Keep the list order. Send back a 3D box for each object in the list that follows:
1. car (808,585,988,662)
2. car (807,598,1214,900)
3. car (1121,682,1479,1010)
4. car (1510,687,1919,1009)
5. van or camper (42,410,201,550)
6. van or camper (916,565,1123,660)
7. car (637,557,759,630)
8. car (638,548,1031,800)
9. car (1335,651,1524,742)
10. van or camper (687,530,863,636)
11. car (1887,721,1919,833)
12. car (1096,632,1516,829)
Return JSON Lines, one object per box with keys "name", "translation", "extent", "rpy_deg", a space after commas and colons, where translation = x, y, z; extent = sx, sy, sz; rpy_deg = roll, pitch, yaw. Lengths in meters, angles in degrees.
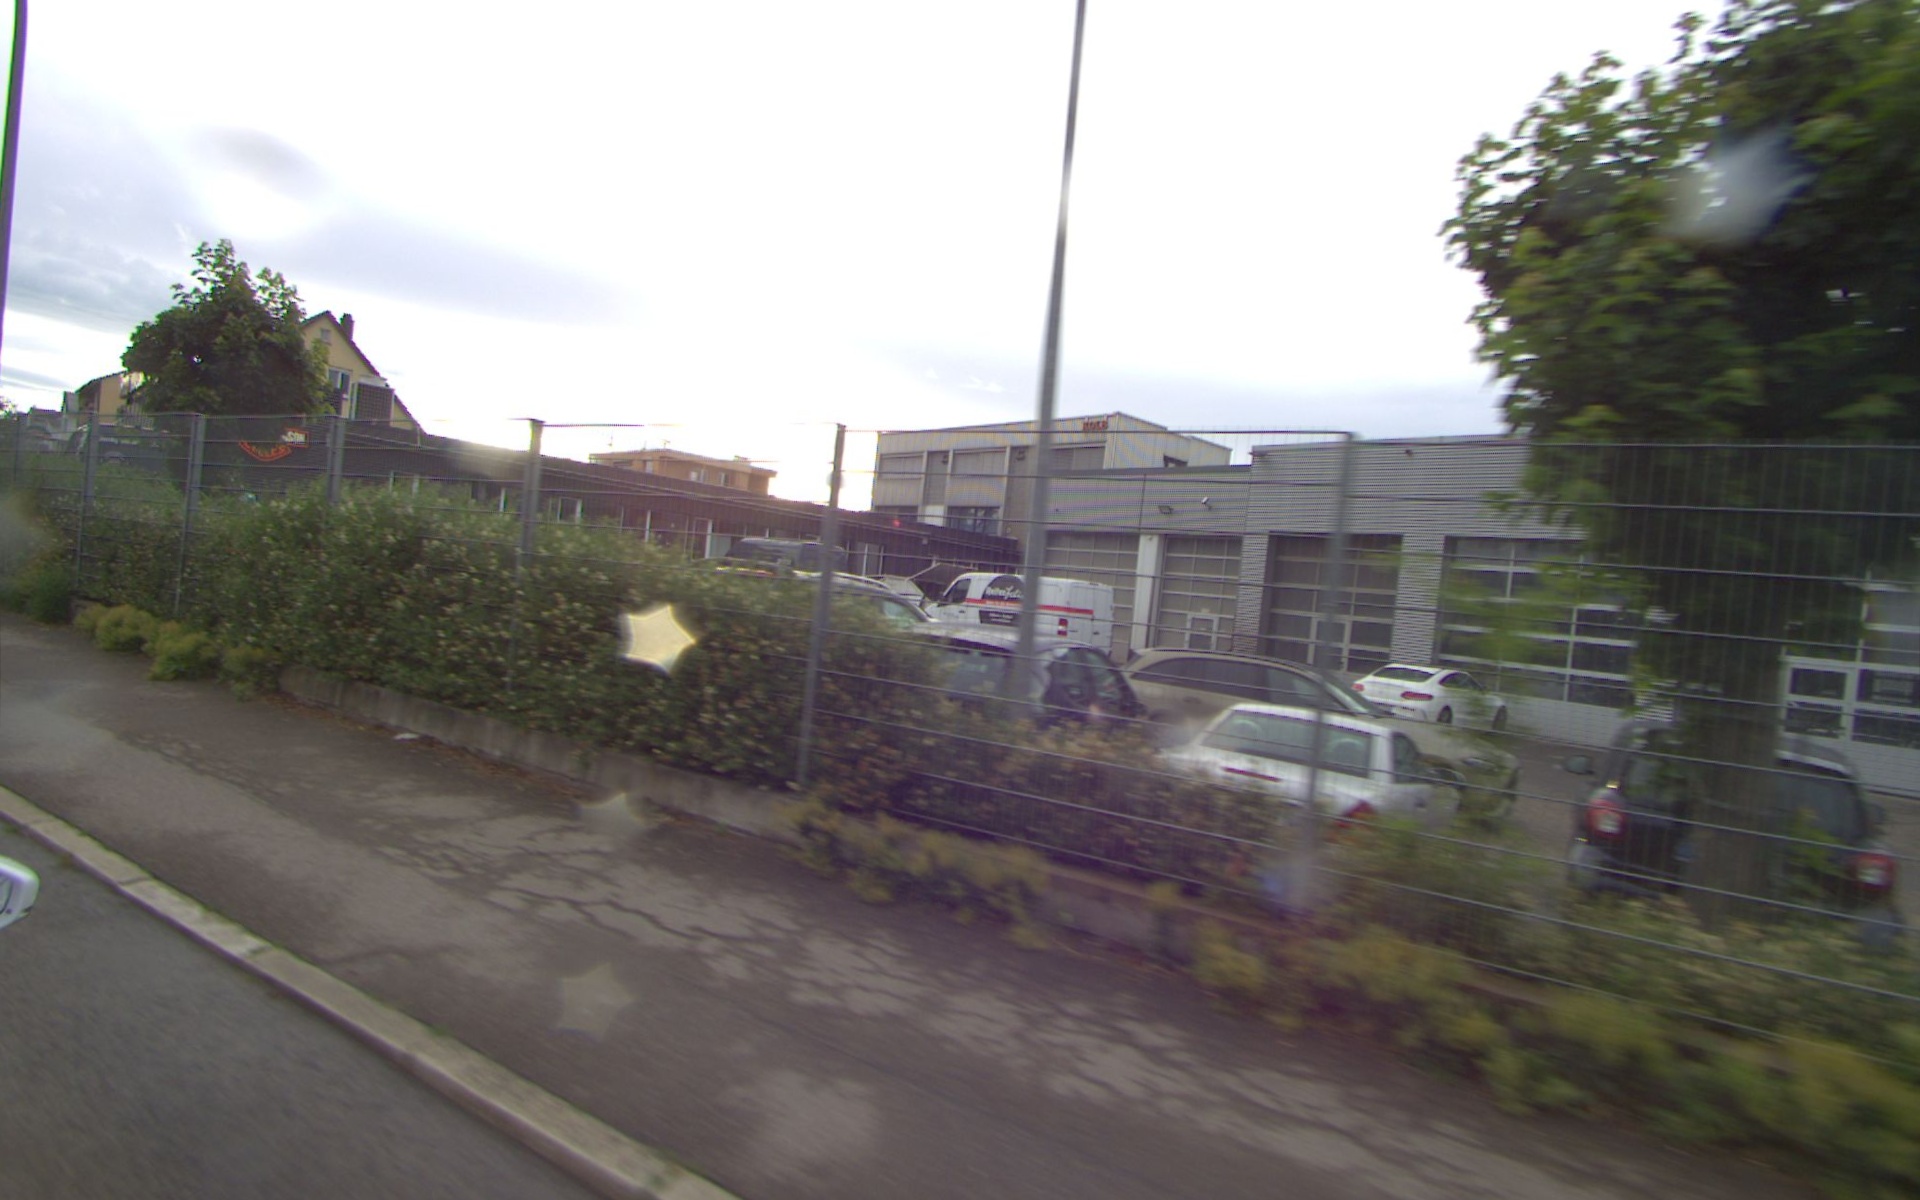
{"name": "car", "translation": [-1.634, 0.573, 25.472], "extent": [4.404, 1.436, 1.890], "rpy_deg": [5, -4, 41]}
{"name": "car", "translation": [0.714, 1.154, 8.559], "extent": [1.589, 1.792, 4.151], "rpy_deg": [5, -3, 30]}
{"name": "car", "translation": [2.726, 1.523, 7.391], "extent": [1.652, 1.526, 3.913], "rpy_deg": [5, -3, 30]}
{"name": "car", "translation": [5.345, 1.527, 7.277], "extent": [1.968, 1.425, 3.993], "rpy_deg": [5, -3, 34]}
{"name": "van or camper", "translation": [-19.786, -2.783, 23.584], "extent": [6.501, 2.626, 2.036], "rpy_deg": [7, 1, 44]}
{"name": "van or camper", "translation": [1.407, 0.259, 26.165], "extent": [1.987, 1.960, 5.369], "rpy_deg": [9, -3, -42]}
{"name": "car", "translation": [-7.235, -0.204, 27.649], "extent": [3.351, 1.591, 1.633], "rpy_deg": [8, 1, 44]}
{"name": "car", "translation": [-1.116, 0.752, 10.660], "extent": [1.685, 2.039, 3.987], "rpy_deg": [7, 0, 36]}
{"name": "car", "translation": [9.761, 2.025, 20.738], "extent": [4.619, 1.416, 1.701], "rpy_deg": [9, -3, -41]}
{"name": "van or camper", "translation": [-5.733, -0.587, 30.517], "extent": [2.325, 2.590, 5.668], "rpy_deg": [6, 1, -44]}
{"name": "car", "translation": [14.565, 2.564, 12.773], "extent": [1.989, 1.436, 3.952], "rpy_deg": [10, -4, -44]}
{"name": "car", "translation": [3.947, 1.394, 11.653], "extent": [4.226, 1.523, 1.788], "rpy_deg": [5, -3, 29]}
